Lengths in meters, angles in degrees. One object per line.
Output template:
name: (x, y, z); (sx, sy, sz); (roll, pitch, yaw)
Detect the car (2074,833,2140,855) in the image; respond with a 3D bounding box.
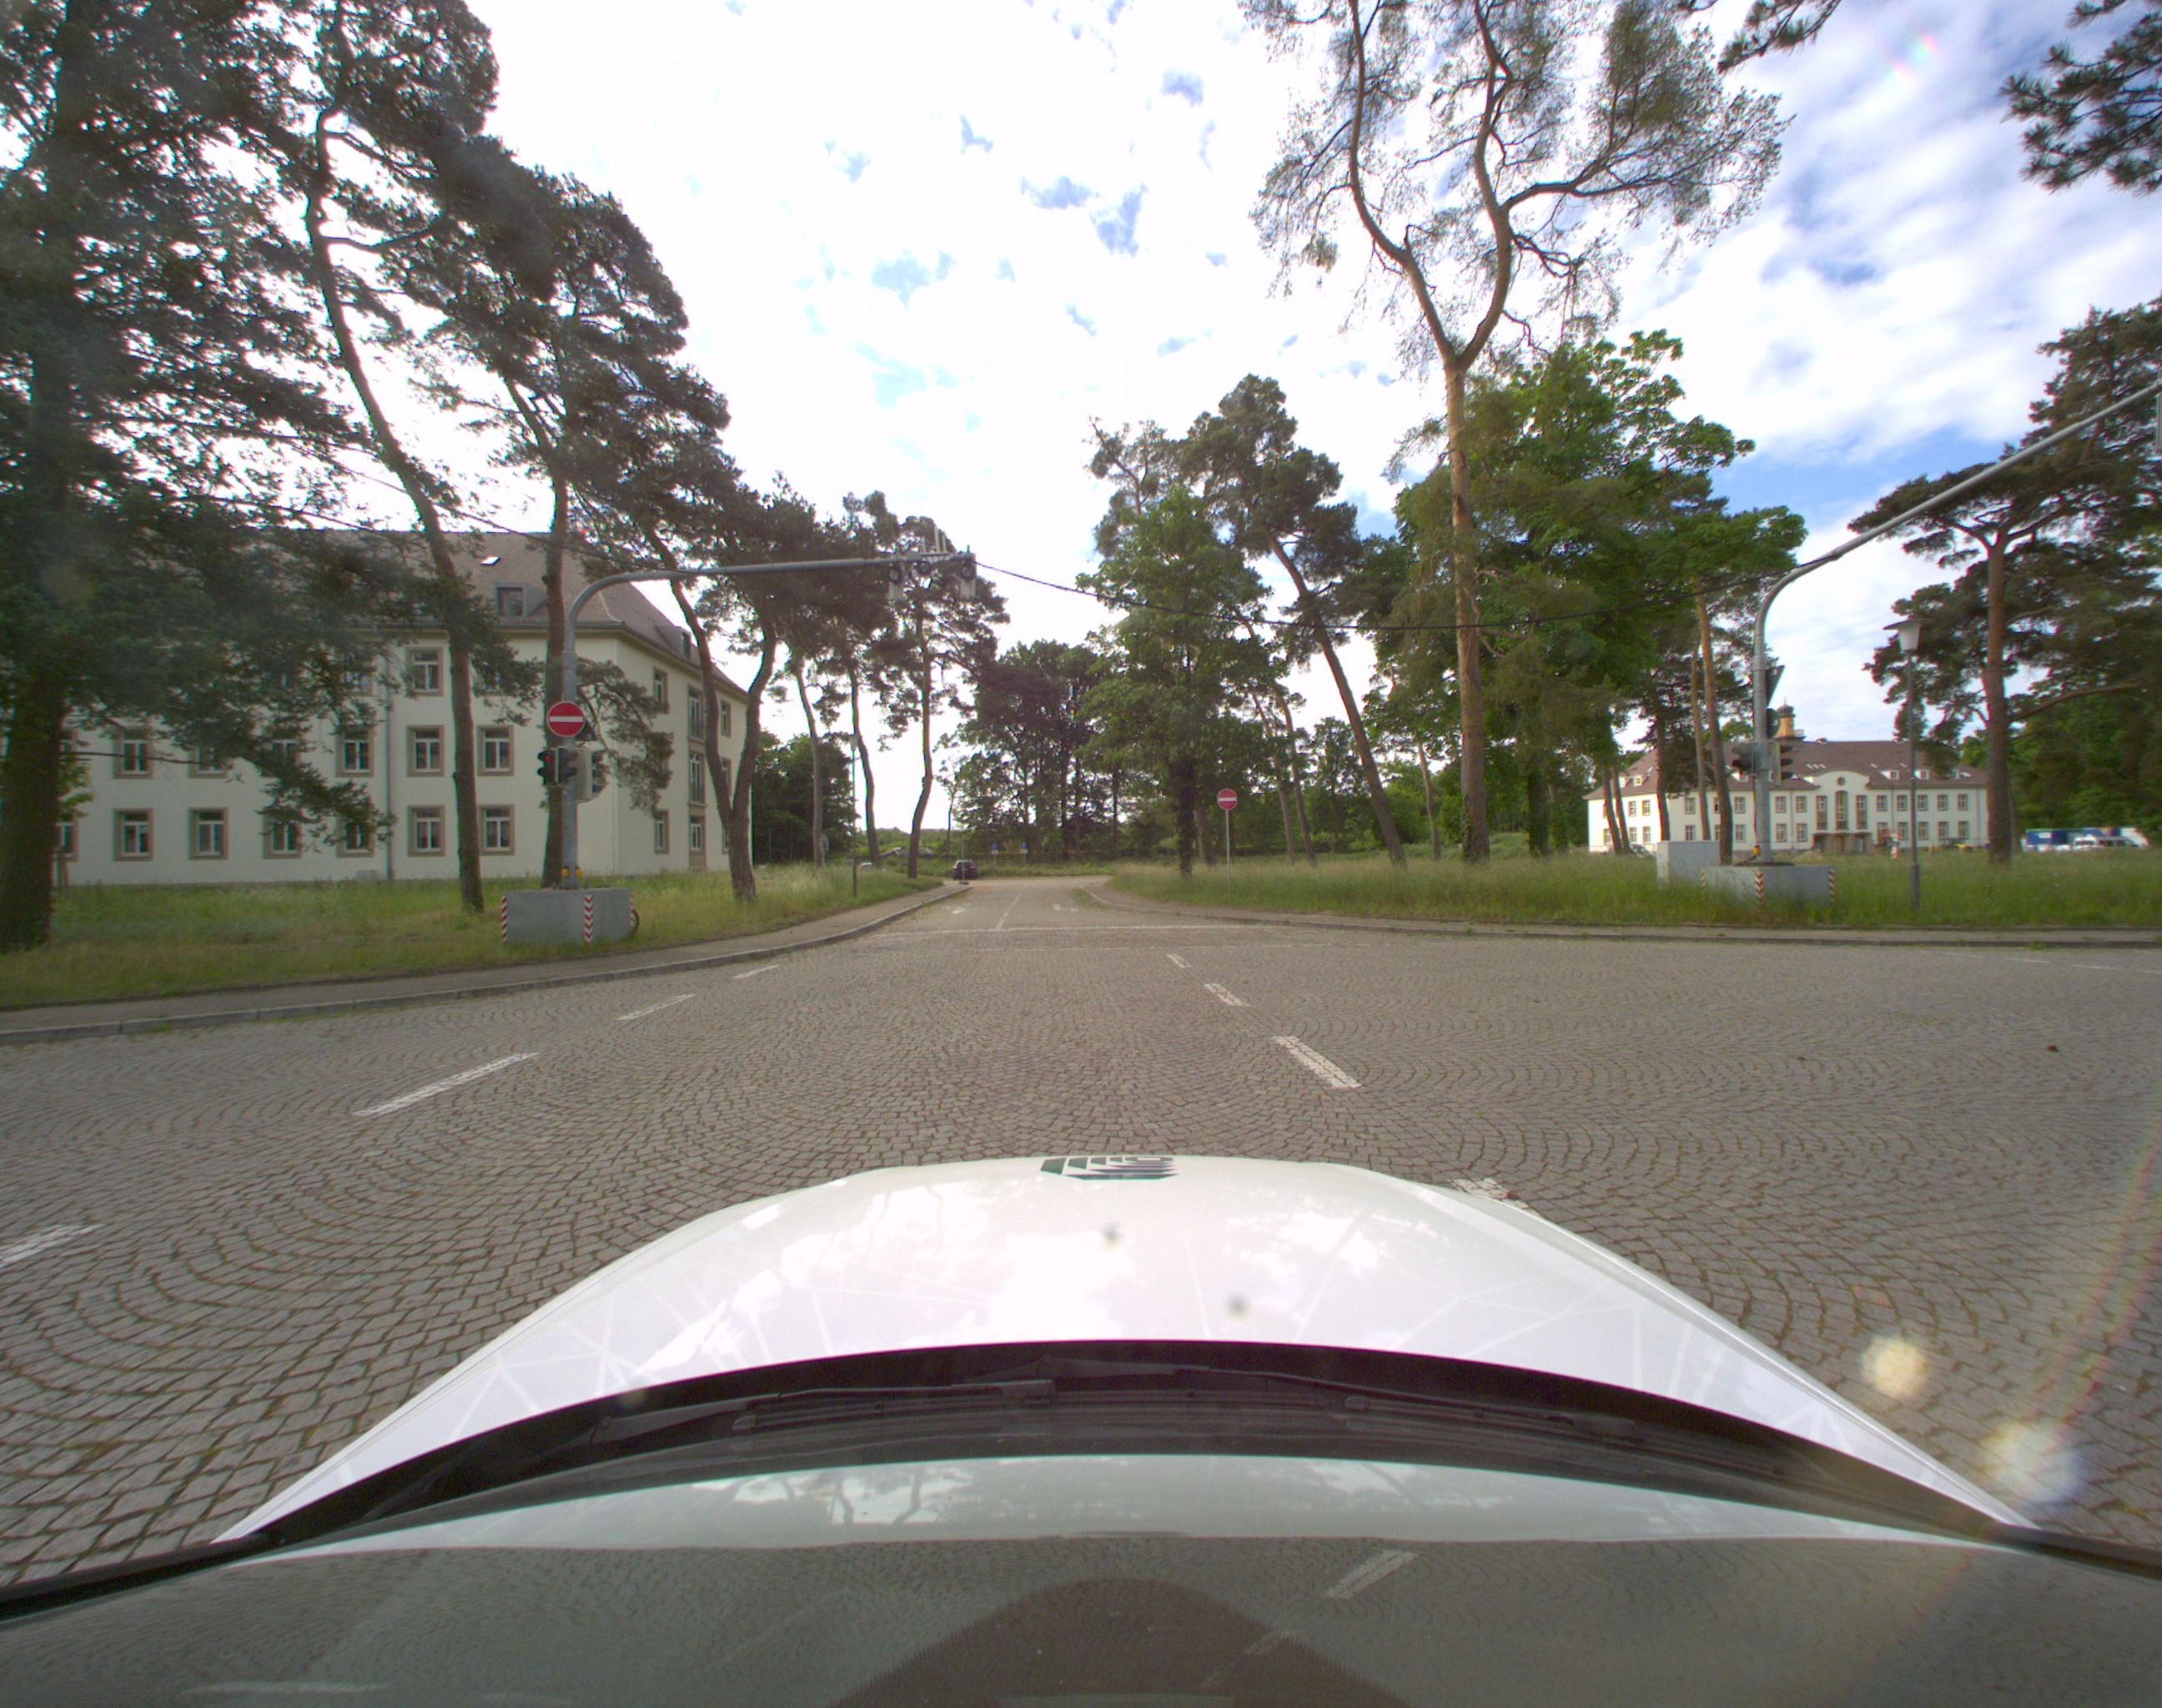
car: (104.626, -1.012, 83.045); (4.322, 2.095, 2.066); (1, -1, -4)

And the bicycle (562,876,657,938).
bicycle: (-8.730, 0.971, 15.106); (1.410, 1.074, 0.497); (-1, 2, -6)

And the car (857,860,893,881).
car: (-16.432, 1.281, 65.047); (1.705, 1.610, 4.059); (1, 0, 1)

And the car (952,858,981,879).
car: (-9.055, 1.128, 64.822); (1.706, 1.610, 4.057); (1, 0, 0)
